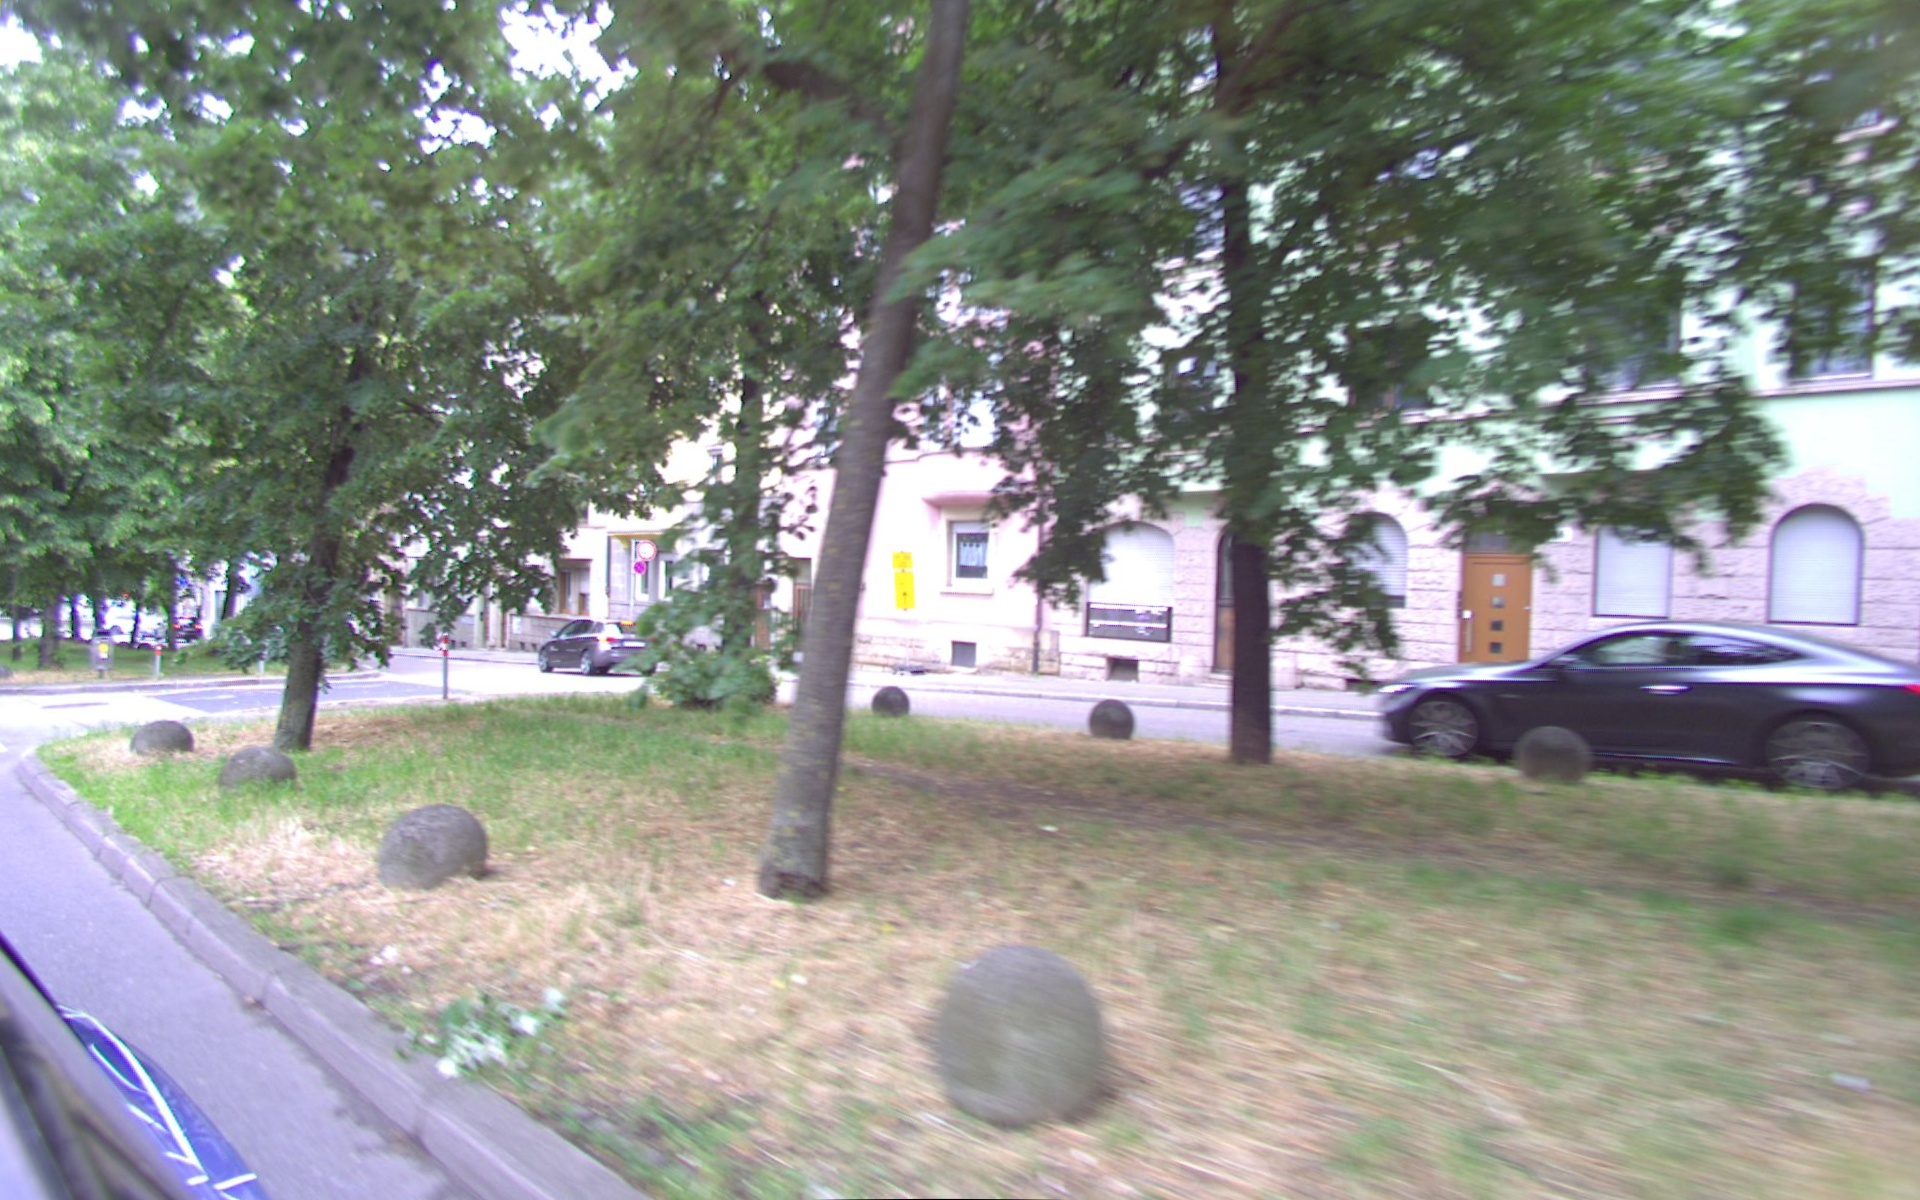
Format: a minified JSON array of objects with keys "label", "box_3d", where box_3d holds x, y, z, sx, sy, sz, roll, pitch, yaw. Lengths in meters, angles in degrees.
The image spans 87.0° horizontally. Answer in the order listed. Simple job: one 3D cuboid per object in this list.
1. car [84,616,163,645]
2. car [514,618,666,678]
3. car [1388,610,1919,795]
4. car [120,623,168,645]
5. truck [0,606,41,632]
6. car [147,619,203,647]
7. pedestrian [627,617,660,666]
[{"label":"car","box_3d":[-63.828,2.304,77.260,4.196,2.029,2.006,0,1,-17]},{"label":"car","box_3d":[-9.489,1.205,25.792,4.667,1.393,1.690,-2,-3,43]},{"label":"car","box_3d":[6.668,0.846,9.367,4.667,1.393,1.739,-2,-3,43]},{"label":"car","box_3d":[-54.430,2.234,67.463,4.290,1.417,1.652,-1,-2,39]},{"label":"truck","box_3d":[-99.501,1.970,104.623,2.740,2.744,6.441,-1,-1,7]},{"label":"car","box_3d":[-48.508,2.027,62.508,4.676,1.649,1.797,0,-2,41]},{"label":"pedestrian","box_3d":[-9.733,1.260,31.128,0.704,1.471,0.691,-2,-1,42]}]
